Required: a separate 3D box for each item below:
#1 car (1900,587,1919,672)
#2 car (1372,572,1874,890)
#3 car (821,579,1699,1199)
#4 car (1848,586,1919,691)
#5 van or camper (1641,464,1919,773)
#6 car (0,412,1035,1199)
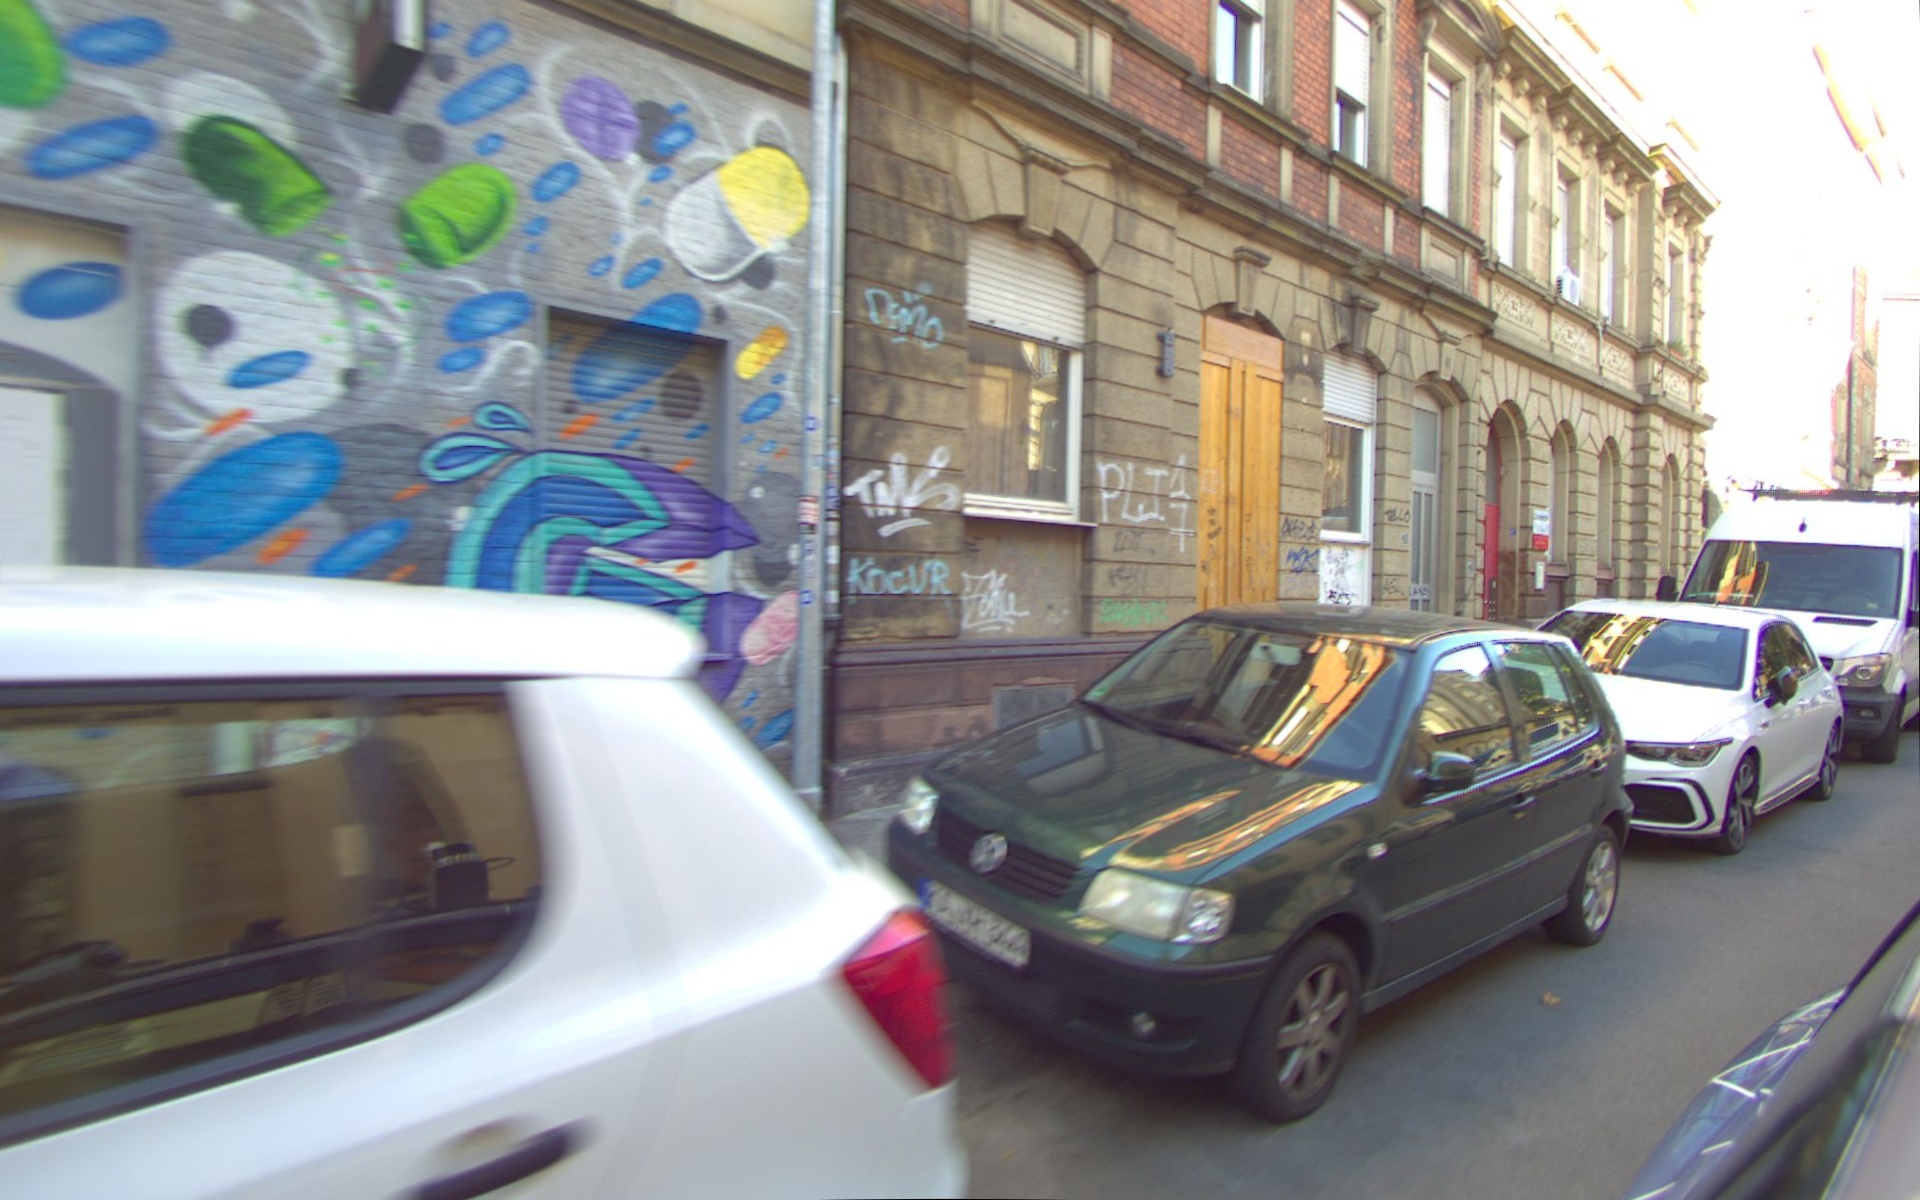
[{"bbox_3d":[20.528,0.585,20.552,3.894,1.645,1.695,0,1,-41],"label":"car"},{"bbox_3d":[5.123,0.650,7.547,4.484,1.667,1.997,-1,1,-41],"label":"car"},{"bbox_3d":[1.493,0.673,4.181,3.842,1.505,1.590,-1,1,-39],"label":"car"},{"bbox_3d":[16.471,0.608,17.116,3.746,1.645,1.695,0,1,-41],"label":"car"},{"bbox_3d":[9.756,0.114,11.419,5.875,2.665,1.997,-1,1,-41],"label":"van or camper"},{"bbox_3d":[-1.945,0.635,0.767,4.128,1.545,1.557,-1,1,-41],"label":"car"}]
